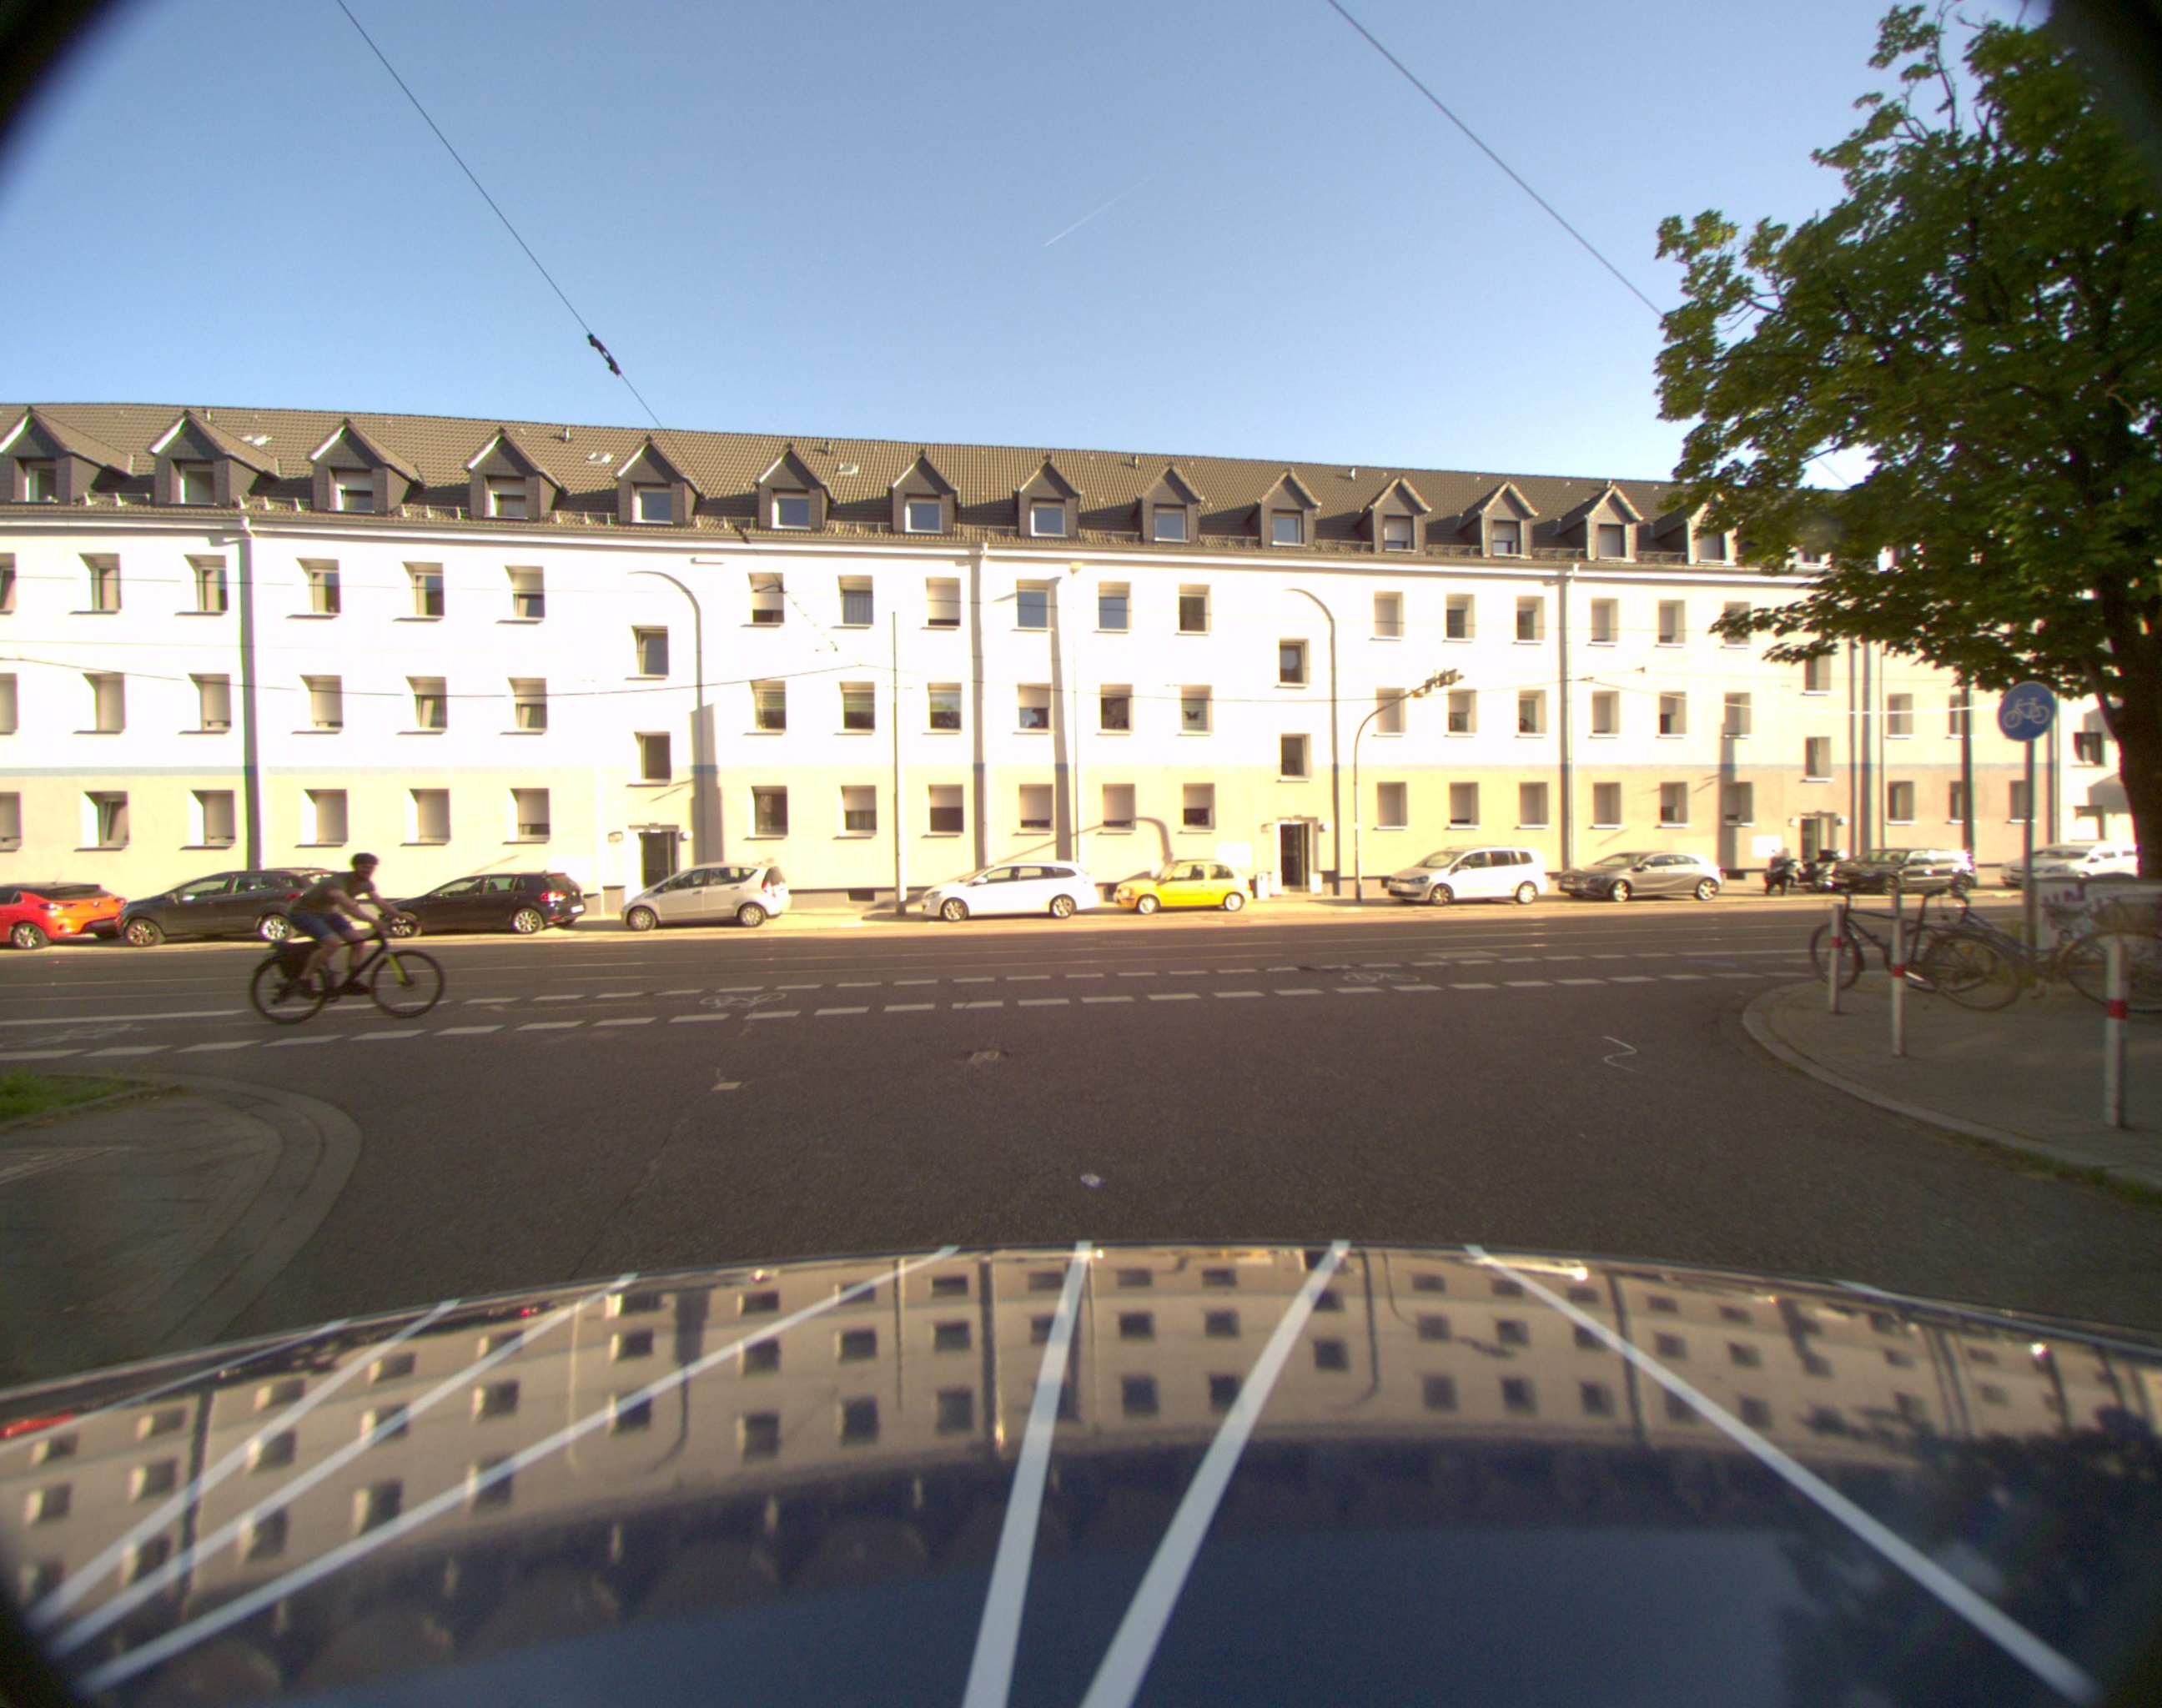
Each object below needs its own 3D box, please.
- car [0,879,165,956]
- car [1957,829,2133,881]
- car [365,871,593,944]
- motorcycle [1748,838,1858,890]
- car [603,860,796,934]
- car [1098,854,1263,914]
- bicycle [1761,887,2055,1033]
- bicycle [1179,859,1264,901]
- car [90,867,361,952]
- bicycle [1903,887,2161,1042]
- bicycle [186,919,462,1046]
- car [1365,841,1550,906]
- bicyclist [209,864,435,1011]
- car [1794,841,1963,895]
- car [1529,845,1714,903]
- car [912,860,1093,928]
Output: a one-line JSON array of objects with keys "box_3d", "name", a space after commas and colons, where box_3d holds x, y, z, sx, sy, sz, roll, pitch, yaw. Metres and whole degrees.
[{"box_3d": [-24.097, 1.438, 17.341, 3.778, 1.476, 1.799, -1, 4, -7], "name": "car"}, {"box_3d": [31.401, -0.008, 24.801, 3.904, 1.562, 1.804, -1, 2, -8], "name": "car"}, {"box_3d": [-14.435, 1.248, 18.427, 4.007, 1.529, 1.594, 0, 4, -8], "name": "car"}, {"box_3d": [21.859, 0.289, 23.030, 2.708, 1.513, 0.807, -1, 3, -6], "name": "motorcycle"}, {"box_3d": [-9.431, 1.030, 19.079, 3.903, 1.563, 1.758, -1, 4, -6], "name": "car"}, {"box_3d": [2.678, 0.773, 20.759, 4.201, 1.423, 1.517, -1, 2, -8], "name": "car"}, {"box_3d": [7.555, 0.901, 7.107, 0.595, 1.078, 1.882, -1, 0, -5], "name": "bicycle"}, {"box_3d": [4.296, 0.776, 23.294, 2.327, 1.190, 1.098, -1, 1, -9], "name": "bicycle"}, {"box_3d": [-19.665, 1.236, 17.656, 3.904, 1.661, 1.663, -1, 4, -9], "name": "car"}, {"box_3d": [8.369, 0.869, 6.511, 0.595, 1.078, 1.810, -1, 1, -5], "name": "bicycle"}, {"box_3d": [-7.601, 1.271, 7.715, 1.960, 1.095, 0.623, -1, 2, -8], "name": "bicycle"}, {"box_3d": [10.762, 0.510, 21.832, 4.626, 1.656, 1.758, -1, 2, -10], "name": "car"}, {"box_3d": [-7.558, 0.777, 7.667, 1.095, 1.323, 1.186, -1, 1, -9], "name": "bicyclist"}, {"box_3d": [25.107, 0.415, 23.993, 3.903, 1.562, 1.612, -1, 2, -6], "name": "car"}, {"box_3d": [16.154, 0.554, 22.816, 4.365, 1.546, 1.868, -1, 2, -6], "name": "car"}, {"box_3d": [-2.051, 1.002, 19.936, 4.509, 1.562, 1.683, -1, 2, -8], "name": "car"}]
